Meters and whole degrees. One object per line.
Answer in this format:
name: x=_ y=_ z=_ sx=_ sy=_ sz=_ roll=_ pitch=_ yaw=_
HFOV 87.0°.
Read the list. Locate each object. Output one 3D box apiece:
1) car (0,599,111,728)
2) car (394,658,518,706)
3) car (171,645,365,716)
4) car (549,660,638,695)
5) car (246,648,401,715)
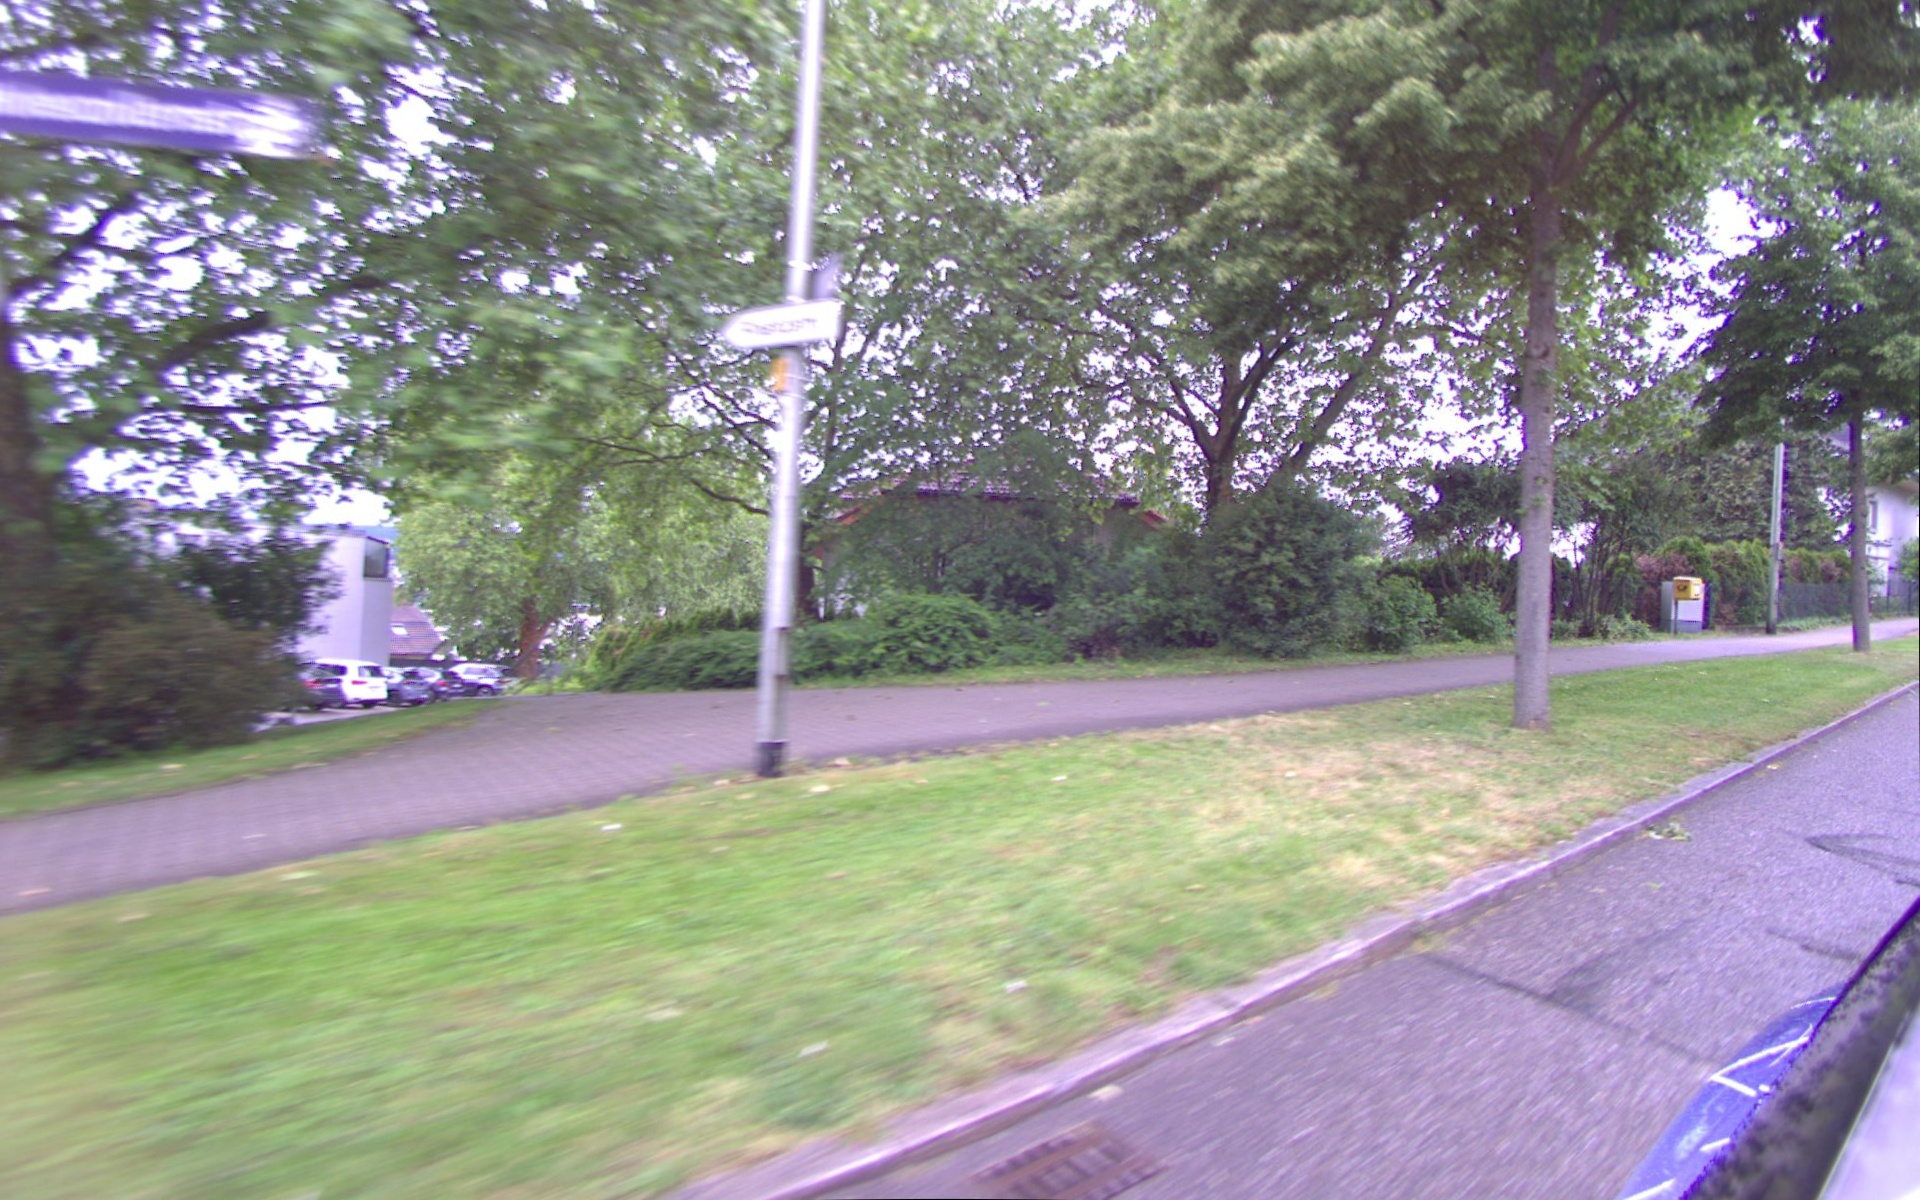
car: x=-24.508 y=1.341 z=24.616 sx=6.046 sy=2.707 sz=2.352 roll=4 pitch=0 yaw=8
car: x=-21.639 y=3.481 z=43.563 sx=4.231 sy=1.863 sz=2.352 roll=0 pitch=-1 yaw=8
car: x=-22.541 y=2.631 z=33.132 sx=4.626 sy=1.864 sz=2.354 roll=4 pitch=-4 yaw=3
car: x=-20.938 y=4.419 z=57.980 sx=4.231 sy=1.863 sz=2.352 roll=0 pitch=-1 yaw=8
car: x=-22.570 y=2.848 z=35.988 sx=4.233 sy=1.863 sz=2.083 roll=4 pitch=0 yaw=8
